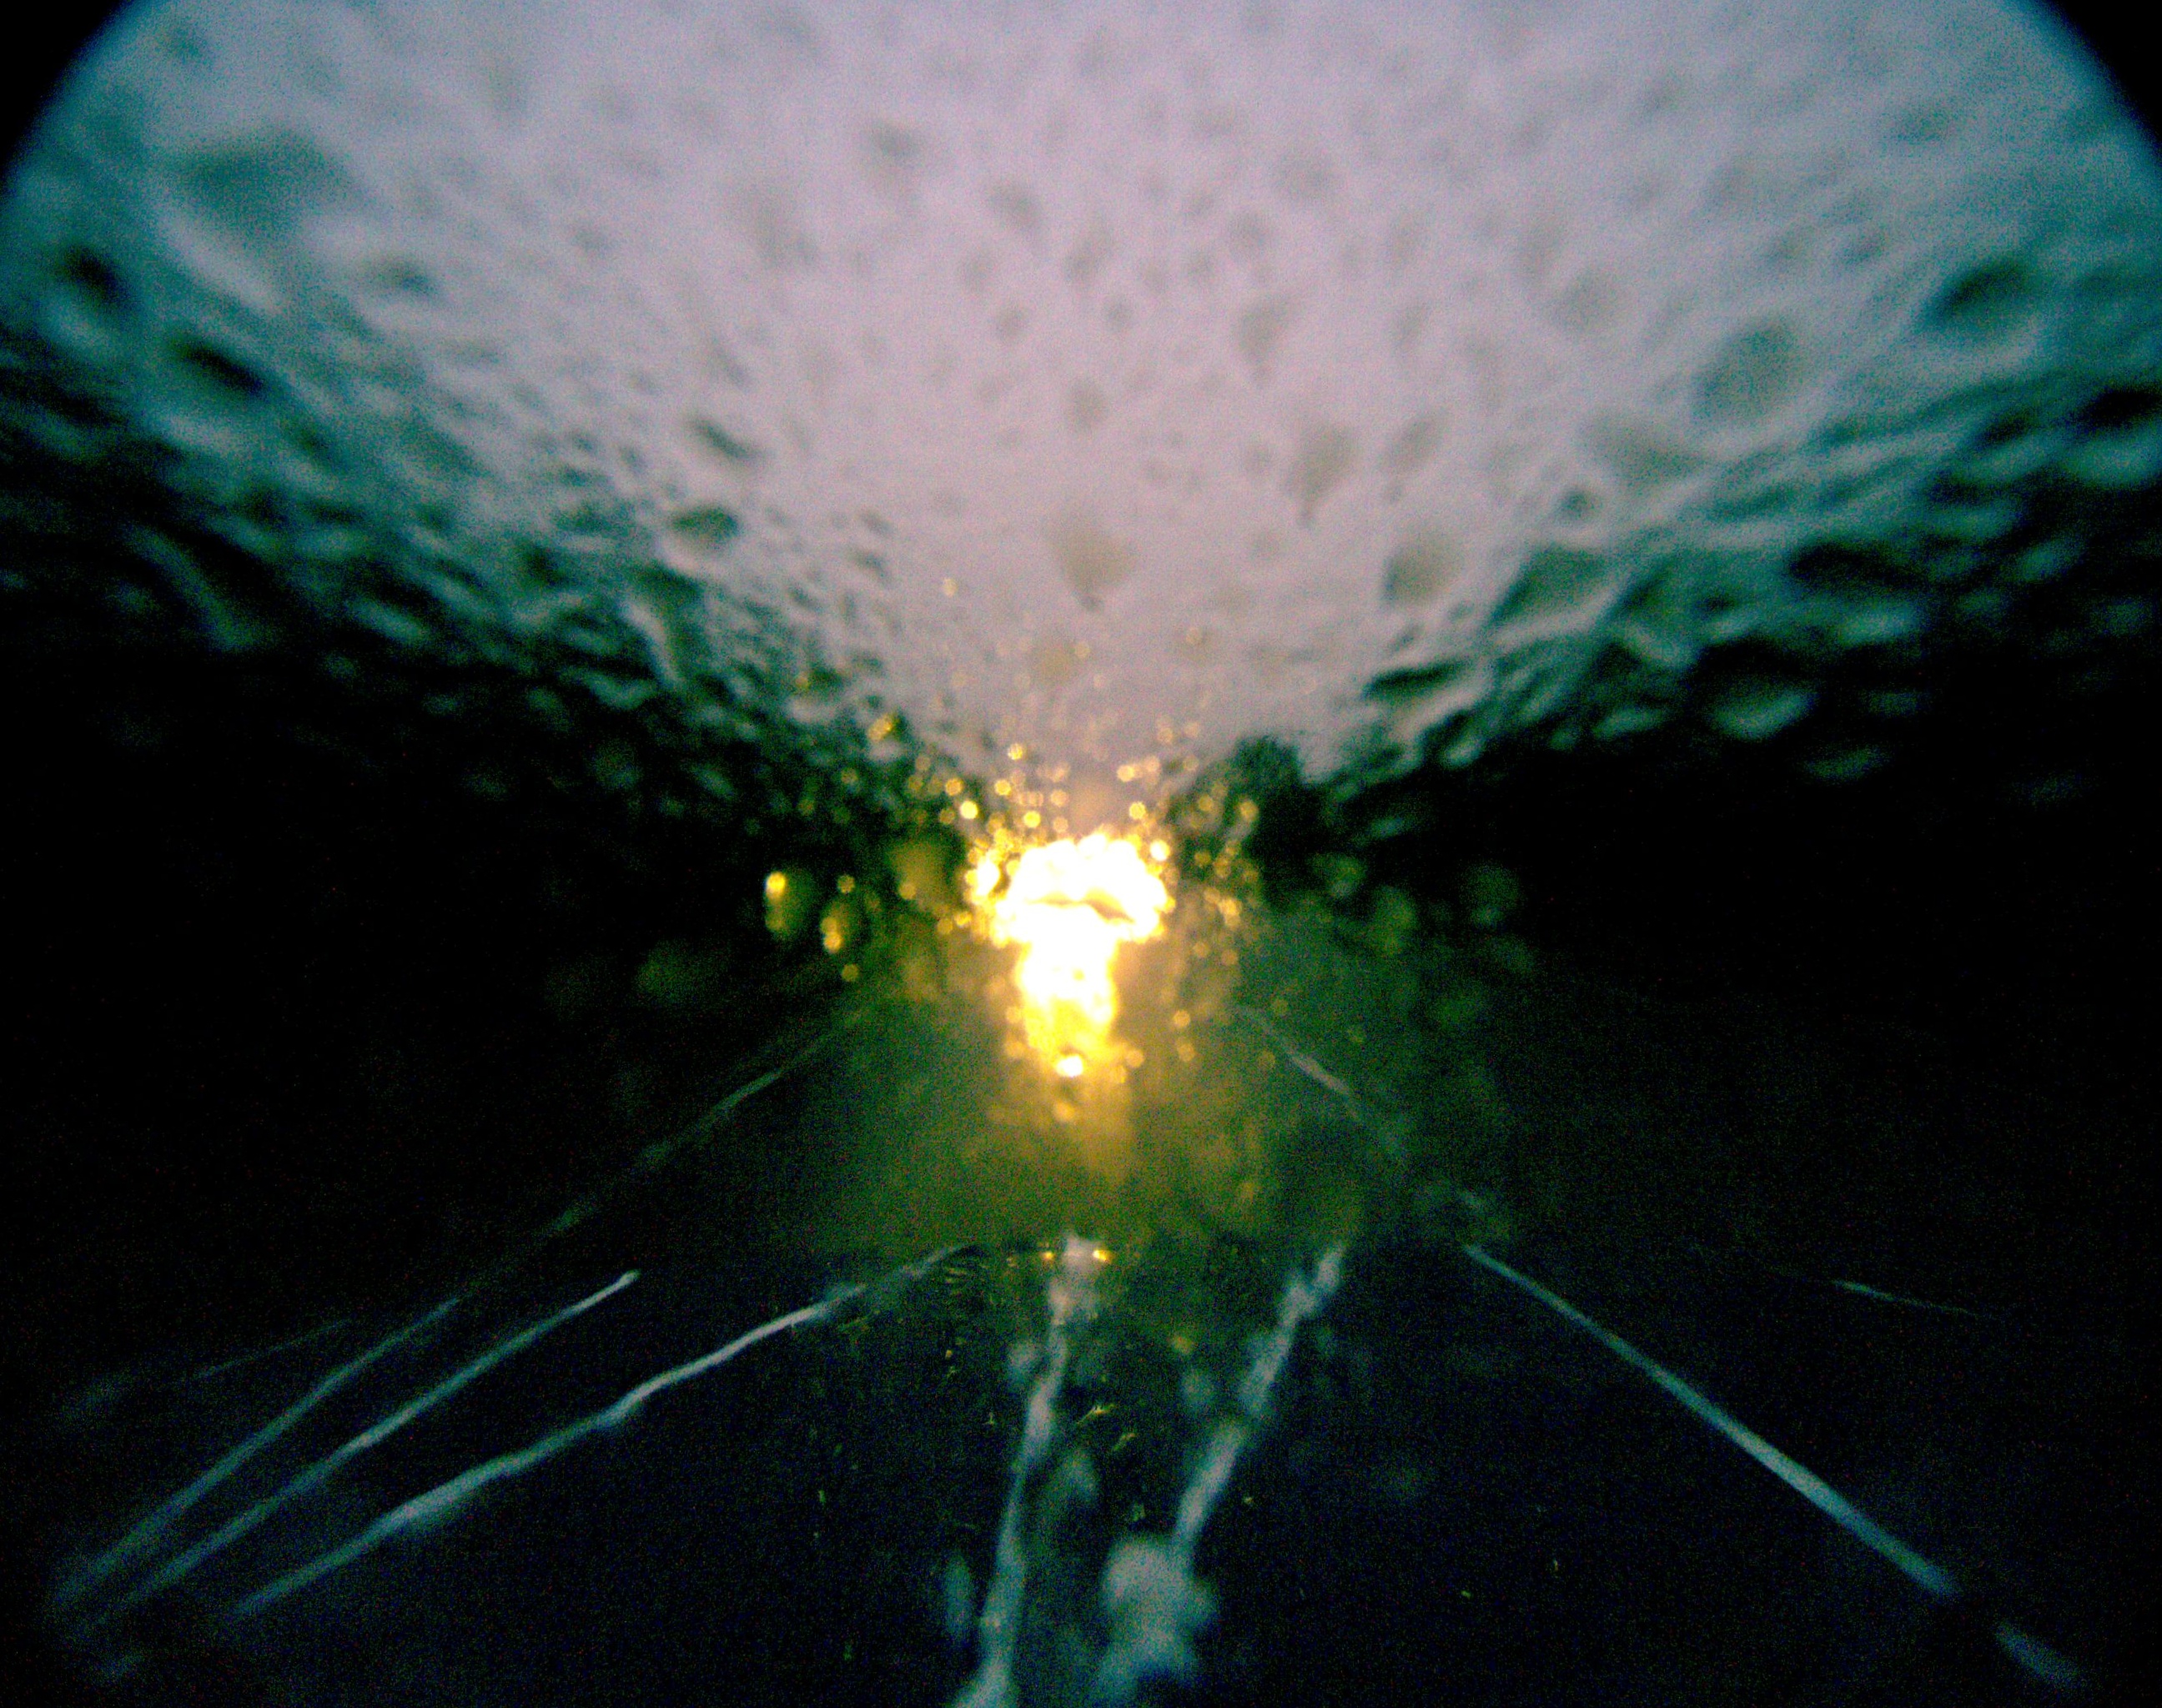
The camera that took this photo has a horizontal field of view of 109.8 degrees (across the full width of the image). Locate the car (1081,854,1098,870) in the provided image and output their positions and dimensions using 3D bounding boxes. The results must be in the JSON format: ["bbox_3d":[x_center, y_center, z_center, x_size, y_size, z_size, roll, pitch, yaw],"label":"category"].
[{"bbox_3d":[1.057,0.972,91.336,1.998,1.752,4.371,-1,0,1],"label":"car"}]

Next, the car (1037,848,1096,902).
[{"bbox_3d":[-0.443,0.667,26.322,1.572,1.701,4.001,-1,0,5],"label":"car"}]
